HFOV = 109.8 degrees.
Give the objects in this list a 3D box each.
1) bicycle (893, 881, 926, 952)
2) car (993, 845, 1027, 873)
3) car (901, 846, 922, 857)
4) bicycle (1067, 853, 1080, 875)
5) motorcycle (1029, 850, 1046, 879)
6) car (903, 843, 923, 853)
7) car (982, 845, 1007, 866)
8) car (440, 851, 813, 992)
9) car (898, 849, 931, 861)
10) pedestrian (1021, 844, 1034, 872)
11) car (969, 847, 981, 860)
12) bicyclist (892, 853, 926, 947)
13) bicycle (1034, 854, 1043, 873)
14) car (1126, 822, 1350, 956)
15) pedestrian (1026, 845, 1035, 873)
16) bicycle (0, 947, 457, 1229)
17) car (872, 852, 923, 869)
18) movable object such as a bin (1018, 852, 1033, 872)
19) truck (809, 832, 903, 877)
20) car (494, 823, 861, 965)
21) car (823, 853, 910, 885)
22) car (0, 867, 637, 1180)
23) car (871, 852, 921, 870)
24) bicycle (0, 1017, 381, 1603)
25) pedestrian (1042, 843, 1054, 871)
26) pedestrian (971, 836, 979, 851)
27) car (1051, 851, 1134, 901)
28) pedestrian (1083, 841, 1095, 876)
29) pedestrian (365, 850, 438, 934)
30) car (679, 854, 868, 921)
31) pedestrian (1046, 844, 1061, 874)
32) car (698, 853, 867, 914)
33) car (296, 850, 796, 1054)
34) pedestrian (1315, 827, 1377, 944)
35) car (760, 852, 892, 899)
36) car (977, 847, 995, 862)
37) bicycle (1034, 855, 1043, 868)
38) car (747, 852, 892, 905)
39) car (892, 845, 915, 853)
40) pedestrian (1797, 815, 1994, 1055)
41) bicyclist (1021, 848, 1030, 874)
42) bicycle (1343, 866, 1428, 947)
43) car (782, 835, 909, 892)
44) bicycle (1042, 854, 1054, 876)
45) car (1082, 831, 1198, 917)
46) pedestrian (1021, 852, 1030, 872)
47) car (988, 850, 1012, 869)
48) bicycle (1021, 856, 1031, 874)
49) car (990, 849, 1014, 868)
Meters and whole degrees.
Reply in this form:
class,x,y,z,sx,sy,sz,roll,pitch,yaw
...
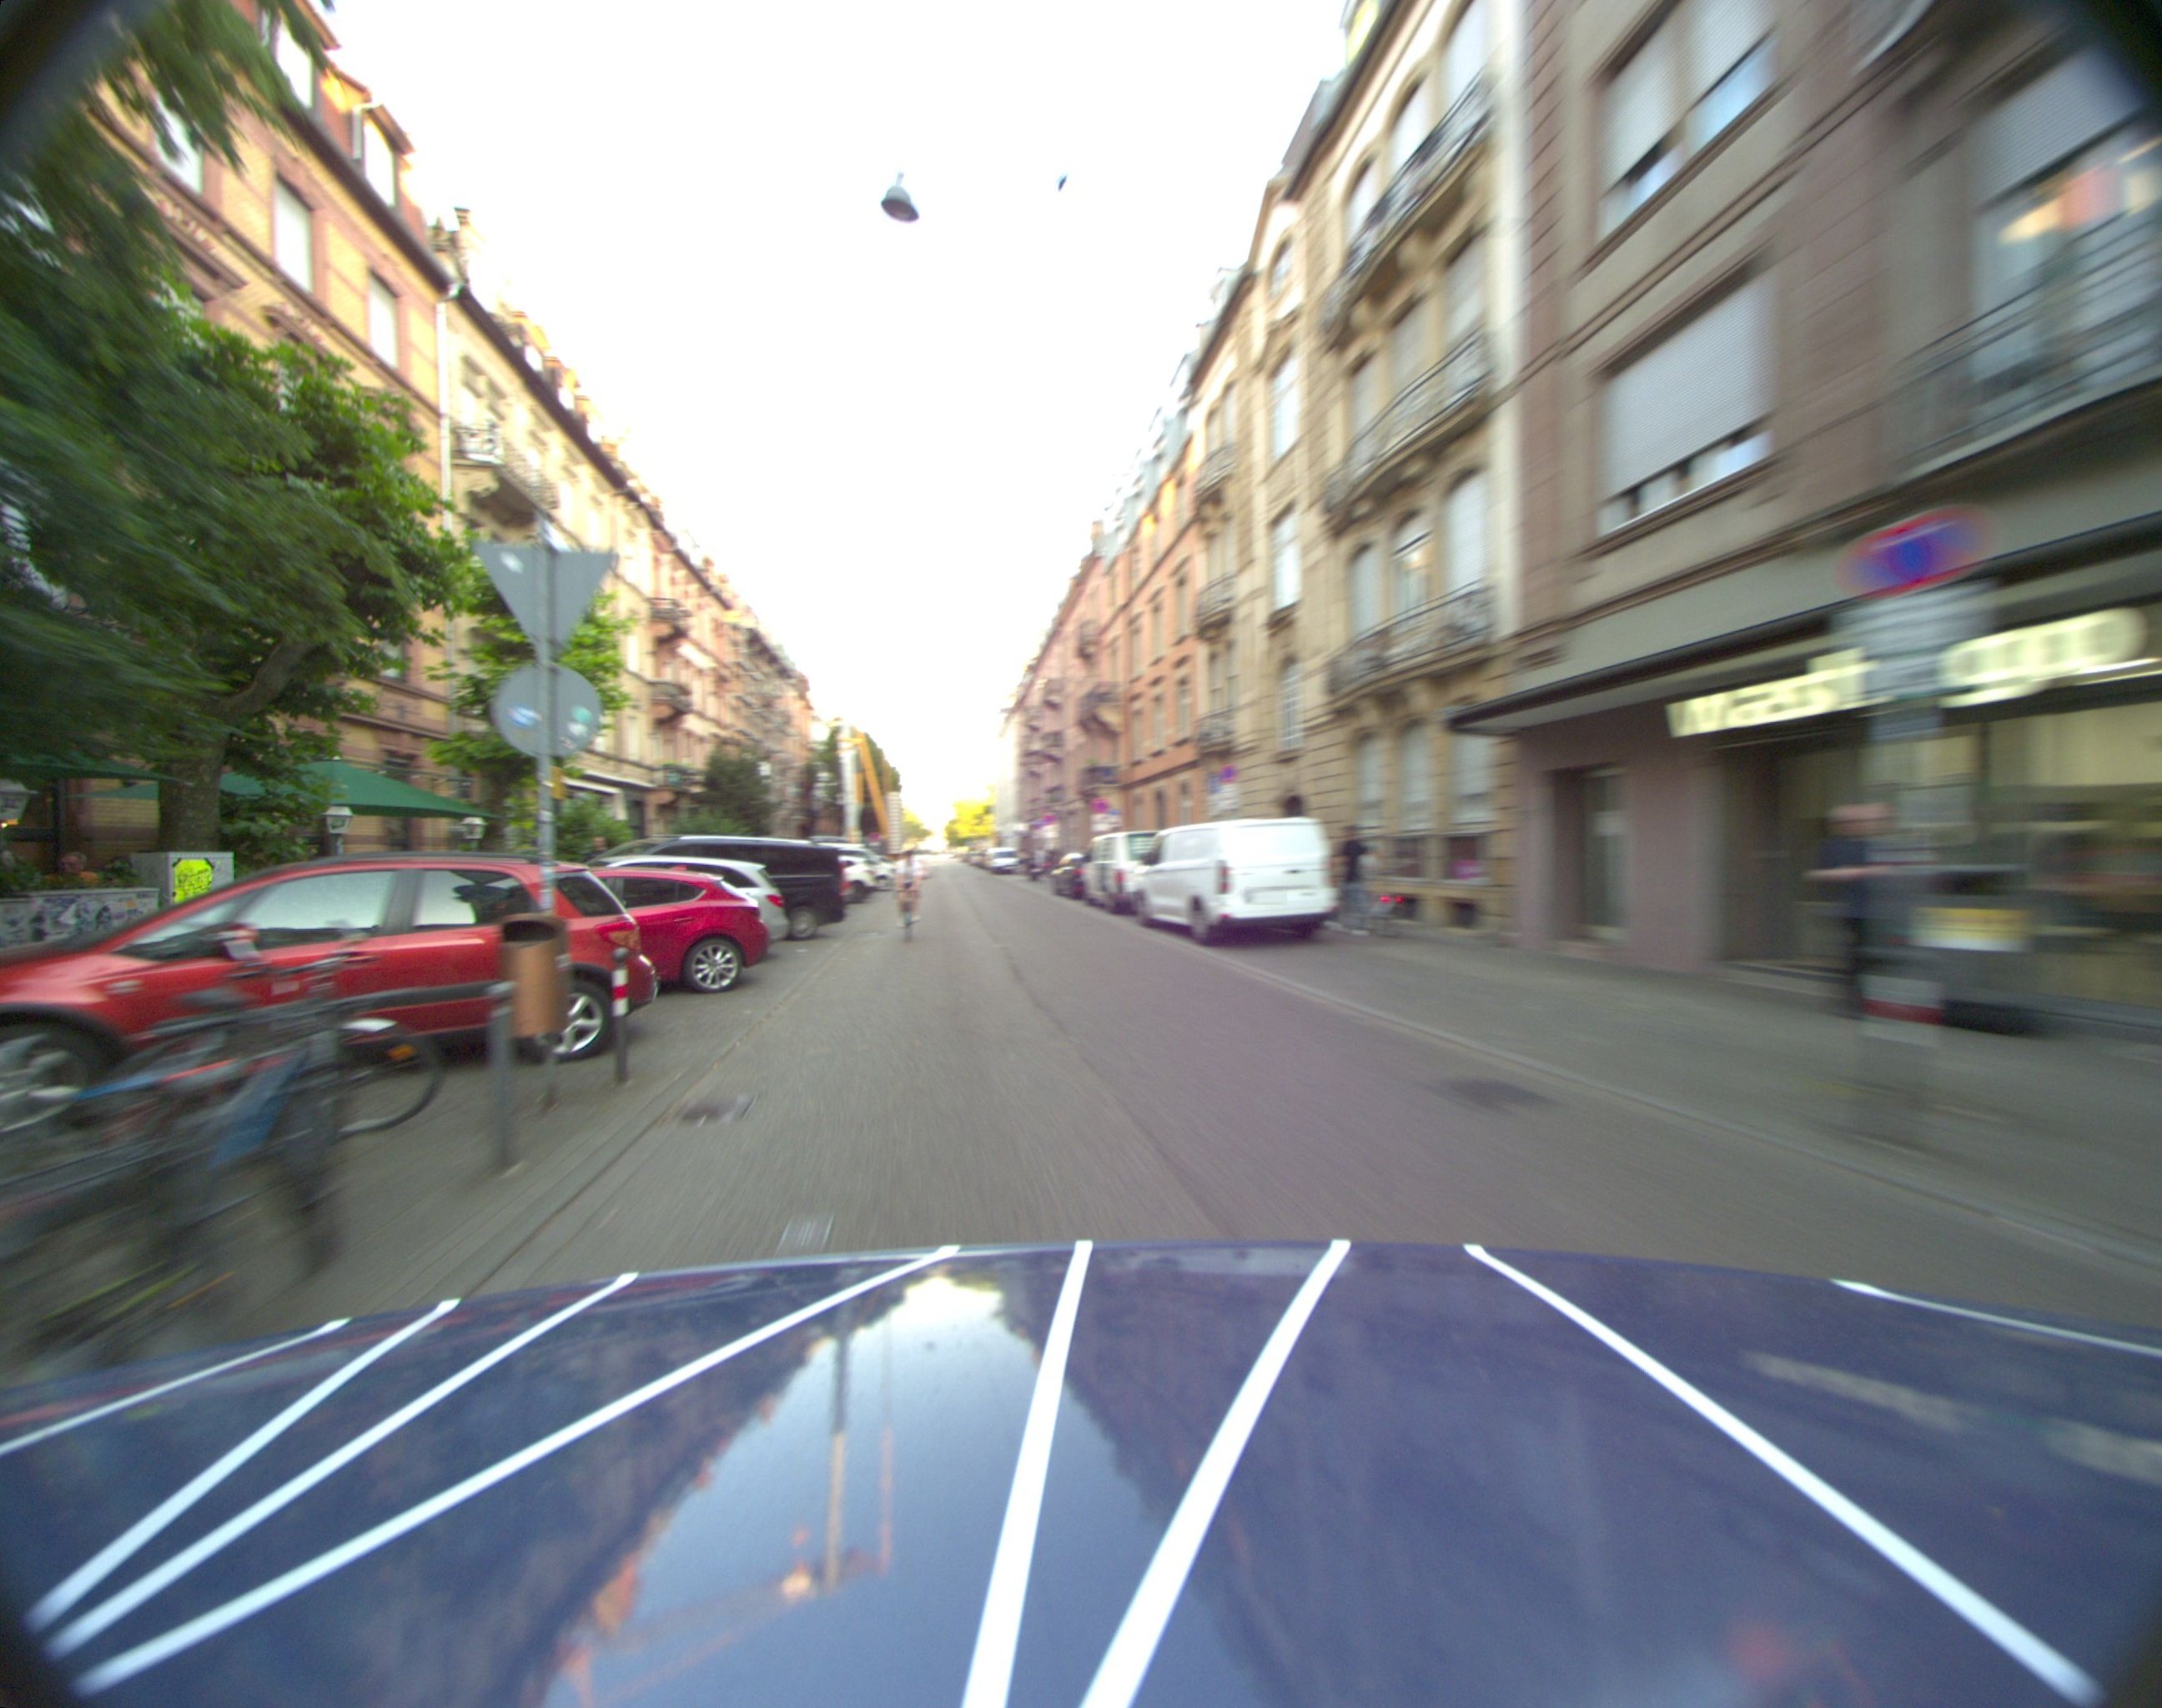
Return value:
class,x,y,z,sx,sy,sz,roll,pitch,yaw
bicycle,-3.228,1.138,14.381,0.521,1.148,1.781,-3,2,-12
car,-5.009,0.288,53.149,1.776,1.779,4.581,-2,1,-12
car,-37.029,-0.540,166.144,1.673,2.279,4.202,2,1,41
bicycle,-0.433,0.547,43.270,0.413,1.153,1.836,-3,2,-9
motorcycle,-2.219,0.514,38.690,0.687,1.397,2.012,-3,2,-8
car,-38.567,-1.388,174.423,1.673,2.246,4.202,3,1,45
car,-8.329,0.107,72.787,1.934,1.872,4.900,-2,1,-11
car,-6.322,0.825,10.874,4.234,1.613,1.928,2,-1,-43
car,-21.820,0.115,99.386,3.843,1.510,1.673,1,1,-43
pedestrian,-3.488,0.240,49.853,0.600,1.804,0.719,-3,2,-19
car,-16.402,-0.132,117.554,1.787,1.860,4.453,-3,2,-9
bicyclist,-3.241,0.846,14.379,0.529,1.694,0.788,-3,2,-11
bicycle,-2.660,0.577,47.570,0.467,1.148,1.999,-2,2,-3
car,2.490,0.475,13.663,2.117,1.910,5.020,-2,1,-12
pedestrian,-3.167,0.324,47.564,0.419,1.699,0.350,-3,2,-15
bicycle,-4.263,1.118,3.922,1.554,1.154,0.364,0,1,-24
car,-16.791,0.607,69.613,1.826,1.479,4.180,1,0,44
movable object such as a bin,-3.677,0.536,50.518,0.890,1.244,0.775,-3,2,-10
truck,-17.159,0.011,58.305,6.500,3.059,2.522,-2,2,-7
car,-6.907,0.635,13.643,1.927,2.060,5.450,1,-1,42
car,-10.987,0.731,38.924,3.875,1.507,1.843,-1,0,-36
car,-5.510,0.902,5.163,4.057,1.618,1.688,1,-1,-42
car,-16.225,0.640,66.685,4.004,1.479,1.680,1,0,-44
bicycle,-2.801,1.186,2.208,0.365,1.057,1.550,-3,2,-14
pedestrian,-2.166,0.184,50.005,0.599,1.804,0.721,-2,2,8
pedestrian,-19.888,-1.899,142.664,1.446,2.725,1.011,-3,2,-11
car,0.278,0.652,25.270,1.843,1.462,4.168,-2,1,-12
pedestrian,0.414,0.222,39.566,0.464,1.779,0.641,-3,2,-7
pedestrian,-11.513,0.625,12.892,0.589,1.358,0.696,-3,2,-14
car,-7.838,0.819,19.587,4.118,1.542,1.813,2,-1,-41
pedestrian,-1.677,0.299,46.226,0.684,1.800,0.960,-3,2,-10
car,-8.493,0.806,21.890,1.813,1.581,4.118,1,-1,42
car,-5.687,0.856,8.517,1.927,1.678,4.234,1,-1,42
pedestrian,4.321,0.480,12.429,0.538,1.813,0.996,-3,2,-7
car,-9.333,0.788,27.962,4.176,1.581,1.880,2,-1,-41
car,-10.941,0.053,87.156,1.732,1.638,3.912,-3,1,-10
bicycle,-3.345,0.592,60.006,0.358,0.940,1.992,-3,2,-13
car,-8.590,0.794,25.131,4.118,1.581,1.813,2,-1,-41
car,-32.756,-0.911,140.282,3.843,1.510,1.673,1,1,-38
pedestrian,6.132,0.565,5.755,0.711,1.668,0.735,-3,1,-10
bicyclist,-3.401,0.436,46.878,0.467,1.582,0.487,-3,2,-7
bicycle,4.906,0.807,12.356,0.473,1.136,1.783,-2,2,-7
car,-10.300,0.380,33.404,4.948,2.348,1.995,-1,1,-36
bicycle,-1.908,0.603,43.362,0.413,1.153,1.836,-3,2,-9
car,1.351,0.420,19.612,1.843,1.910,4.841,-2,1,-9
pedestrian,-3.719,0.535,50.599,0.479,1.244,0.652,-3,2,-10
car,-7.261,0.457,67.573,1.933,1.587,3.966,-2,1,-9
bicycle,-3.369,0.681,46.663,0.467,1.062,1.519,-3,2,-7
car,-6.595,0.344,63.167,1.711,1.521,3.789,-2,1,-9
